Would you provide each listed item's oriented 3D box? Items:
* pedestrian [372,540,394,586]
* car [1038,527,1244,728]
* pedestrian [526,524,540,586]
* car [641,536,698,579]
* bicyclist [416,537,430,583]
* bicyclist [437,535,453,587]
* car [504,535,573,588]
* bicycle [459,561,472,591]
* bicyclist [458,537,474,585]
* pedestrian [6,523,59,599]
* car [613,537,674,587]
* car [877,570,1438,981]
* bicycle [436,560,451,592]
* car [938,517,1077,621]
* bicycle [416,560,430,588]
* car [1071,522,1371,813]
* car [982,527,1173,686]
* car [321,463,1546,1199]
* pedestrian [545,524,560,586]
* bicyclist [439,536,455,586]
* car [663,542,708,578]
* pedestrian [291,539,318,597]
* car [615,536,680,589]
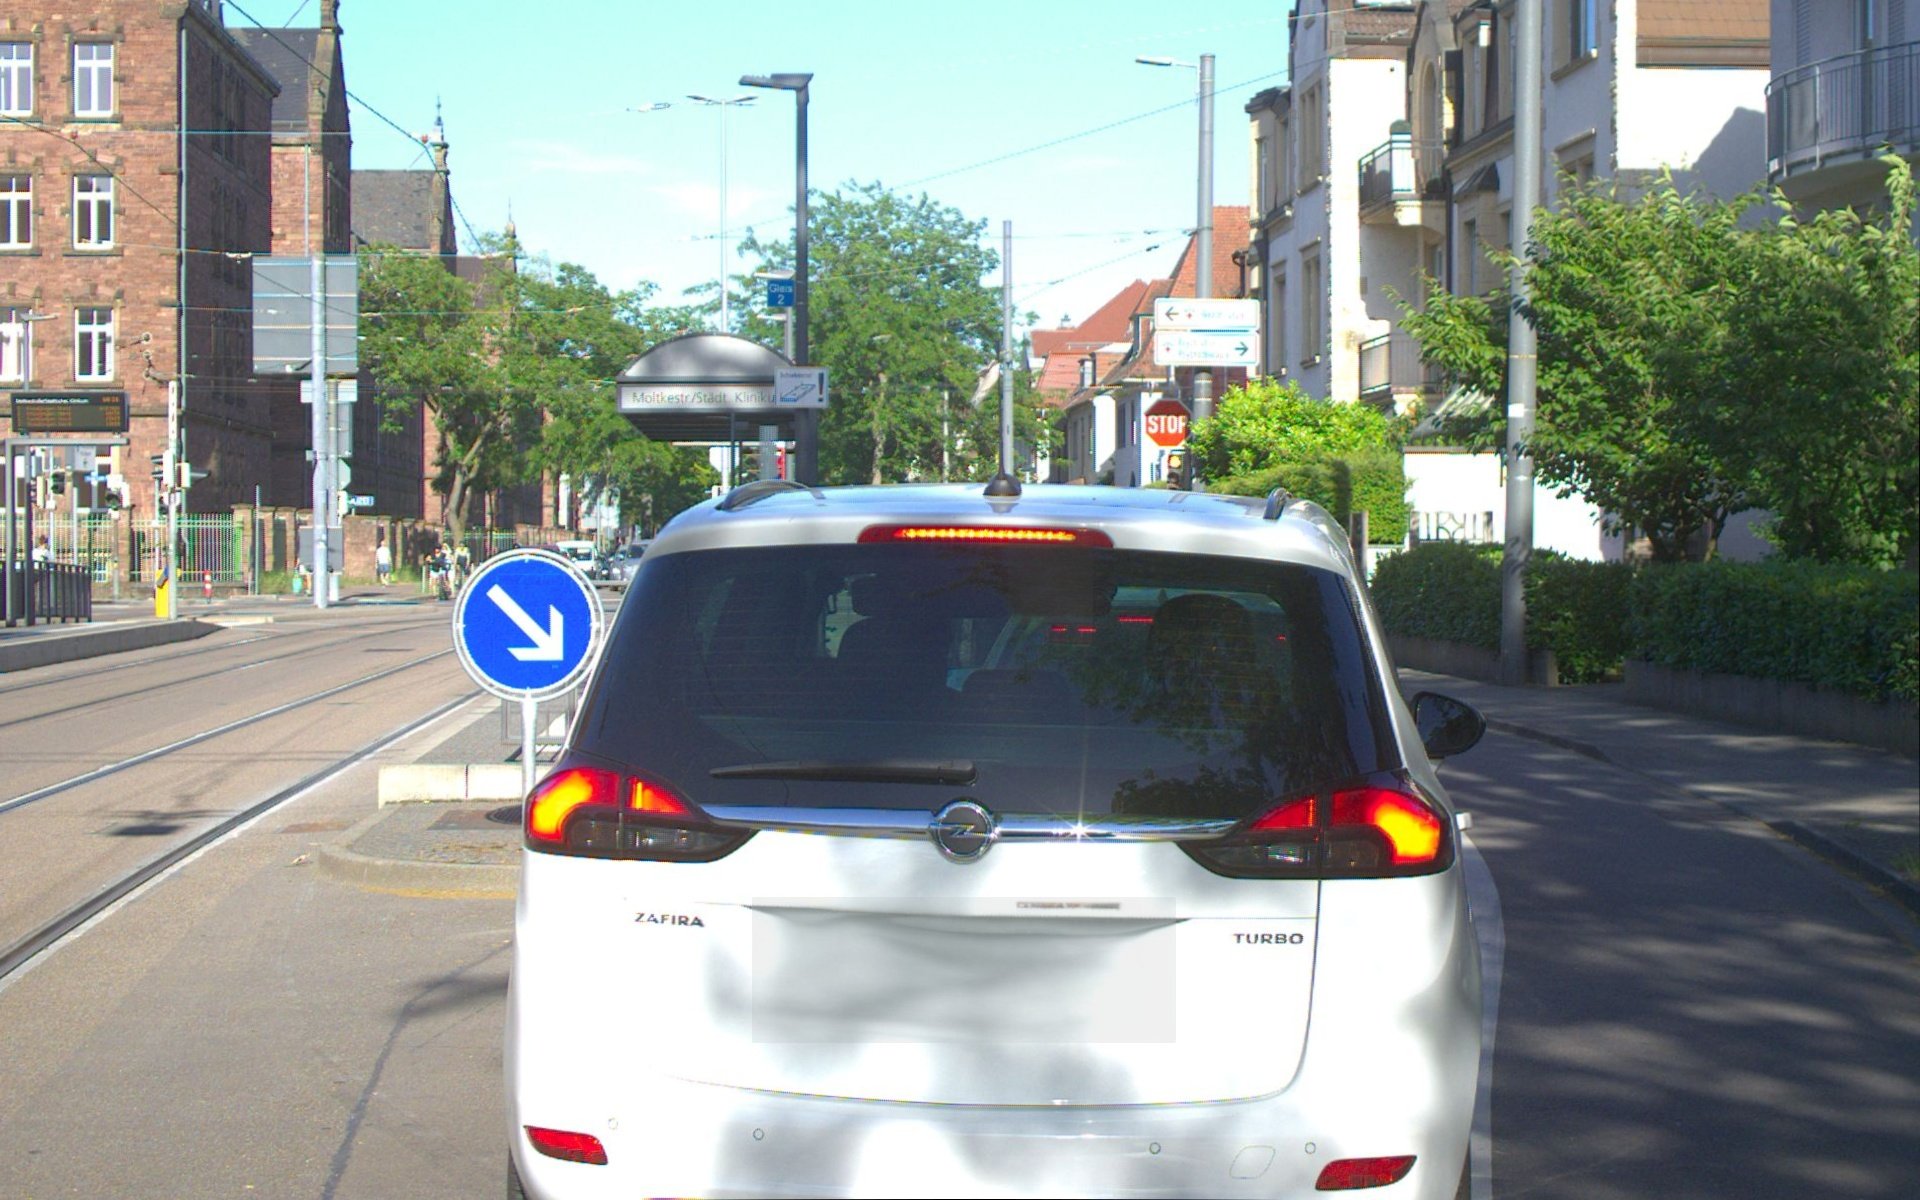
[{"bbox_3d":[-21.339,-1.365,127.231,0.734,1.708,0.754,1,0,-6],"label":"pedestrian"},{"bbox_3d":[1.496,0.182,29.259,1.637,1.595,3.854,0,1,2],"label":"car"},{"bbox_3d":[-13.906,-1.474,111.964,0.444,2.007,0.496,0,1,-4],"label":"pedestrian"},{"bbox_3d":[-11.122,-1.633,131.731,1.993,1.623,4.001,0,1,-2],"label":"car"},{"bbox_3d":[-17.980,-1.333,115.099,0.444,1.548,0.496,0,1,-4],"label":"bicyclist"},{"bbox_3d":[-15.473,-1.180,103.286,0.444,1.548,0.743,0,1,-4],"label":"bicyclist"},{"bbox_3d":[-13.115,-1.222,107.090,1.993,1.623,4.001,0,1,-5],"label":"car"},{"bbox_3d":[-15.696,-0.776,109.167,0.344,0.946,0.997,1,0,-4],"label":"bicycle"},{"bbox_3d":[-15.687,-1.241,109.153,0.444,1.548,0.496,0,1,-4],"label":"bicyclist"},{"bbox_3d":[-20.732,-0.878,76.878,0.895,1.678,1.029,1,0,-1],"label":"pedestrian"},{"bbox_3d":[-10.532,-1.269,114.420,1.993,1.623,4.001,0,1,-5],"label":"car"},{"bbox_3d":[0.748,0.594,13.986,1.953,1.392,4.000,0,1,2],"label":"car"},{"bbox_3d":[-15.481,-0.712,103.085,0.344,0.946,1.160,1,0,-4],"label":"bicycle"},{"bbox_3d":[0.669,-0.485,51.763,1.993,1.497,4.000,0,1,-1],"label":"car"},{"bbox_3d":[-17.985,-0.867,115.143,0.344,0.946,0.997,1,0,-4],"label":"bicycle"},{"bbox_3d":[1.495,0.335,20.831,1.637,1.595,3.854,0,1,2],"label":"car"},{"bbox_3d":[1.178,0.028,36.183,1.830,1.574,4.010,0,1,-1],"label":"car"},{"bbox_3d":[0.140,0.588,7.605,1.994,1.639,3.992,1,1,6],"label":"car"},{"bbox_3d":[-13.306,-1.469,112.251,0.444,2.007,0.496,0,1,-4],"label":"pedestrian"},{"bbox_3d":[-15.891,-1.218,106.568,0.444,1.548,0.496,0,1,-4],"label":"bicyclist"},{"bbox_3d":[-12.494,-1.841,156.461,1.993,1.623,3.989,0,1,-5],"label":"car"},{"bbox_3d":[-19.599,-0.958,102.837,0.734,1.708,0.706,1,0,-8],"label":"pedestrian"},{"bbox_3d":[-9.735,-1.187,107.313,1.993,1.623,4.001,0,1,-5],"label":"car"}]
